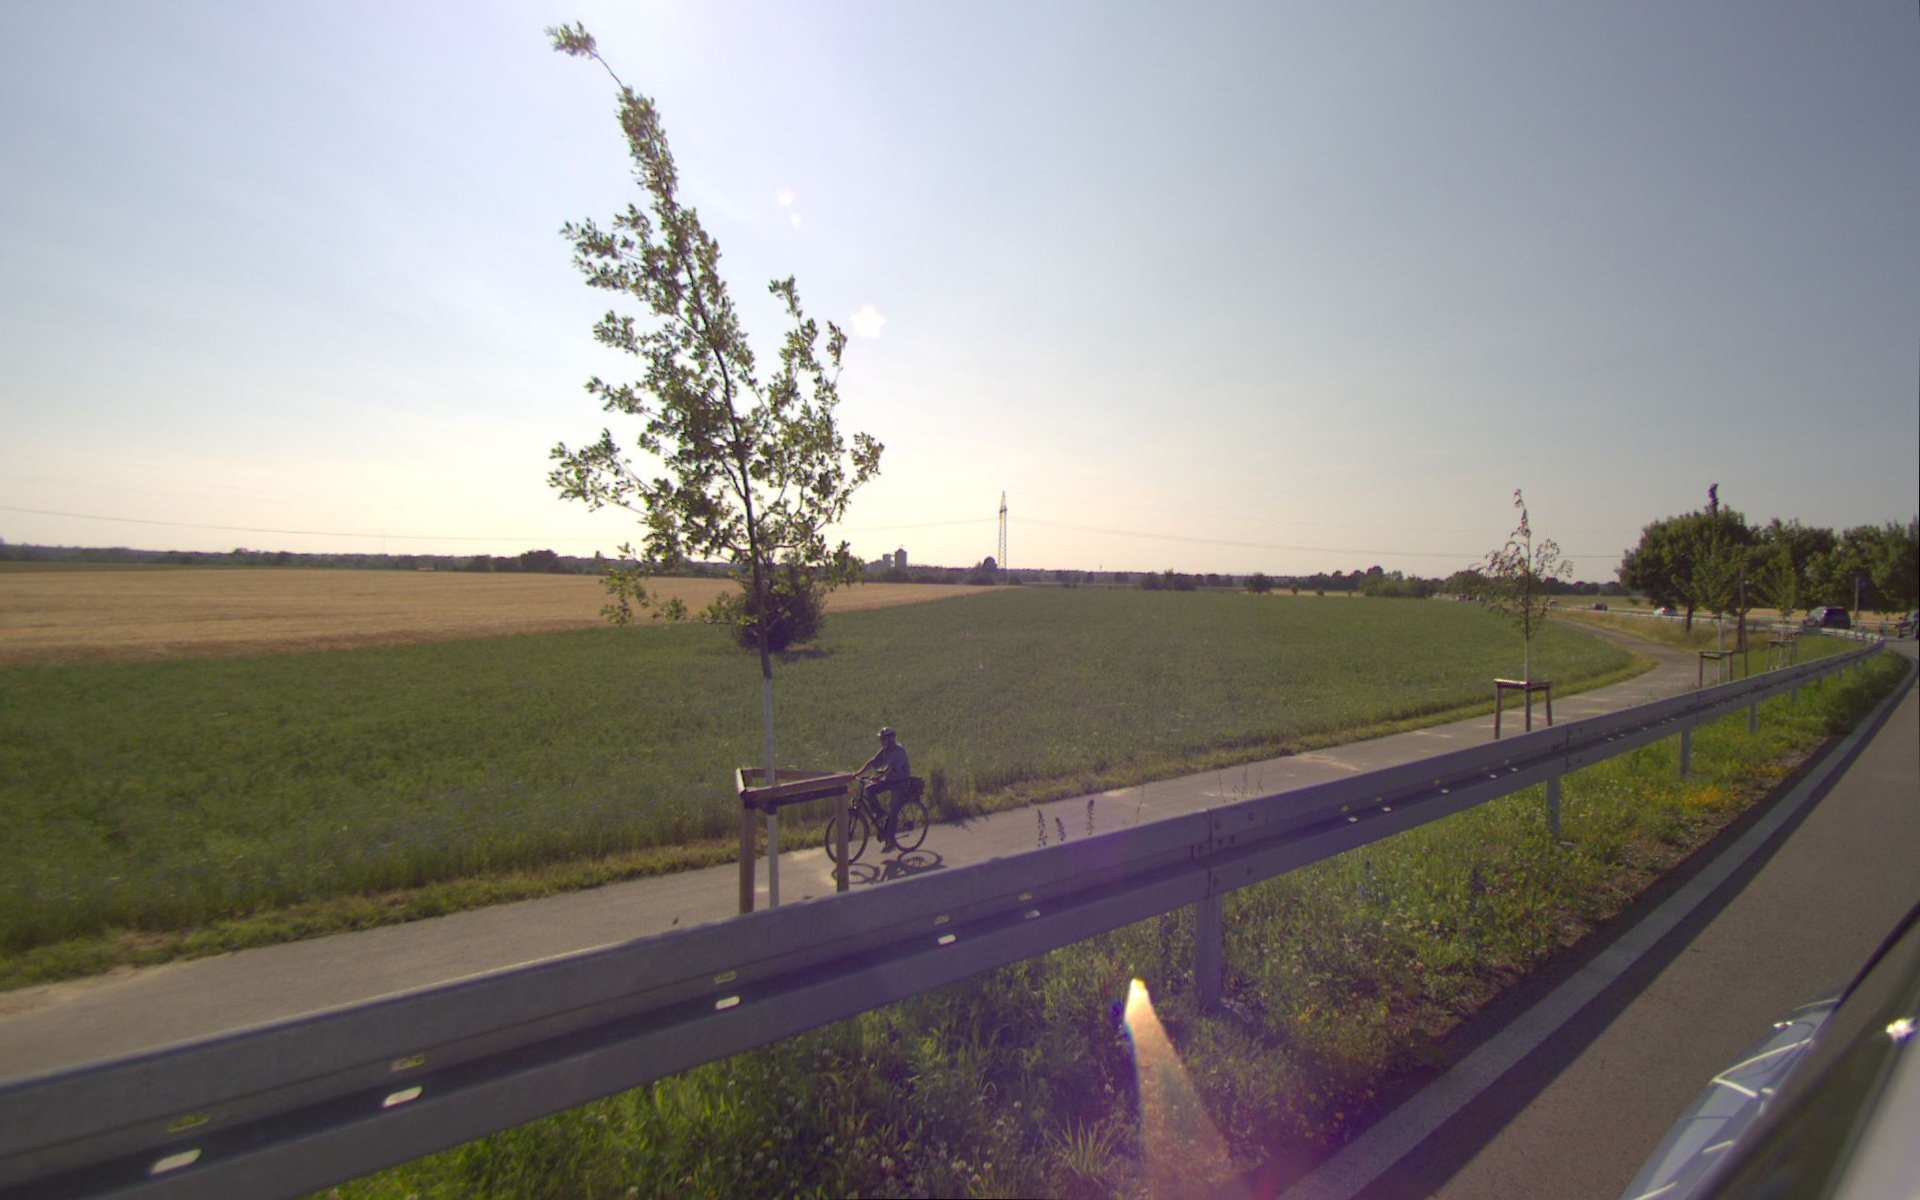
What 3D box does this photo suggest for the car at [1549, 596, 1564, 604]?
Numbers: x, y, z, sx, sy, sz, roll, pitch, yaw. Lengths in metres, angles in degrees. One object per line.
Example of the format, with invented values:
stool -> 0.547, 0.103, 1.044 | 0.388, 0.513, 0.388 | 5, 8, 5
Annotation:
car -> 108.487, -0.062, 183.947 | 1.736, 1.447, 3.817 | 0, -1, 22

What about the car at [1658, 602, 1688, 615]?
car -> 80.443, 0.954, 114.204 | 1.837, 1.467, 4.124 | -1, 0, 21

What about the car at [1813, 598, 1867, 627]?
car -> 63.304, 0.900, 72.857 | 1.871, 1.820, 5.041 | -1, 1, 29

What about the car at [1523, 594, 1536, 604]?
car -> 120.019, -0.209, 213.248 | 1.896, 2.038, 4.748 | 0, 1, 23

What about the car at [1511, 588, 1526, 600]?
car -> 98.895, -1.093, 179.360 | 1.768, 2.039, 3.972 | -1, 0, 21

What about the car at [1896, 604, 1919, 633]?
car -> 54.888, 1.039, 56.926 | 1.981, 1.613, 4.817 | 0, 0, 27

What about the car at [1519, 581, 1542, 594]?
car -> 89.295, -1.986, 158.372 | 2.790, 2.039, 6.046 | -1, 1, 27

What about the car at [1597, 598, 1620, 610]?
car -> 93.385, 0.527, 145.741 | 1.820, 1.563, 4.218 | -1, 1, 20
